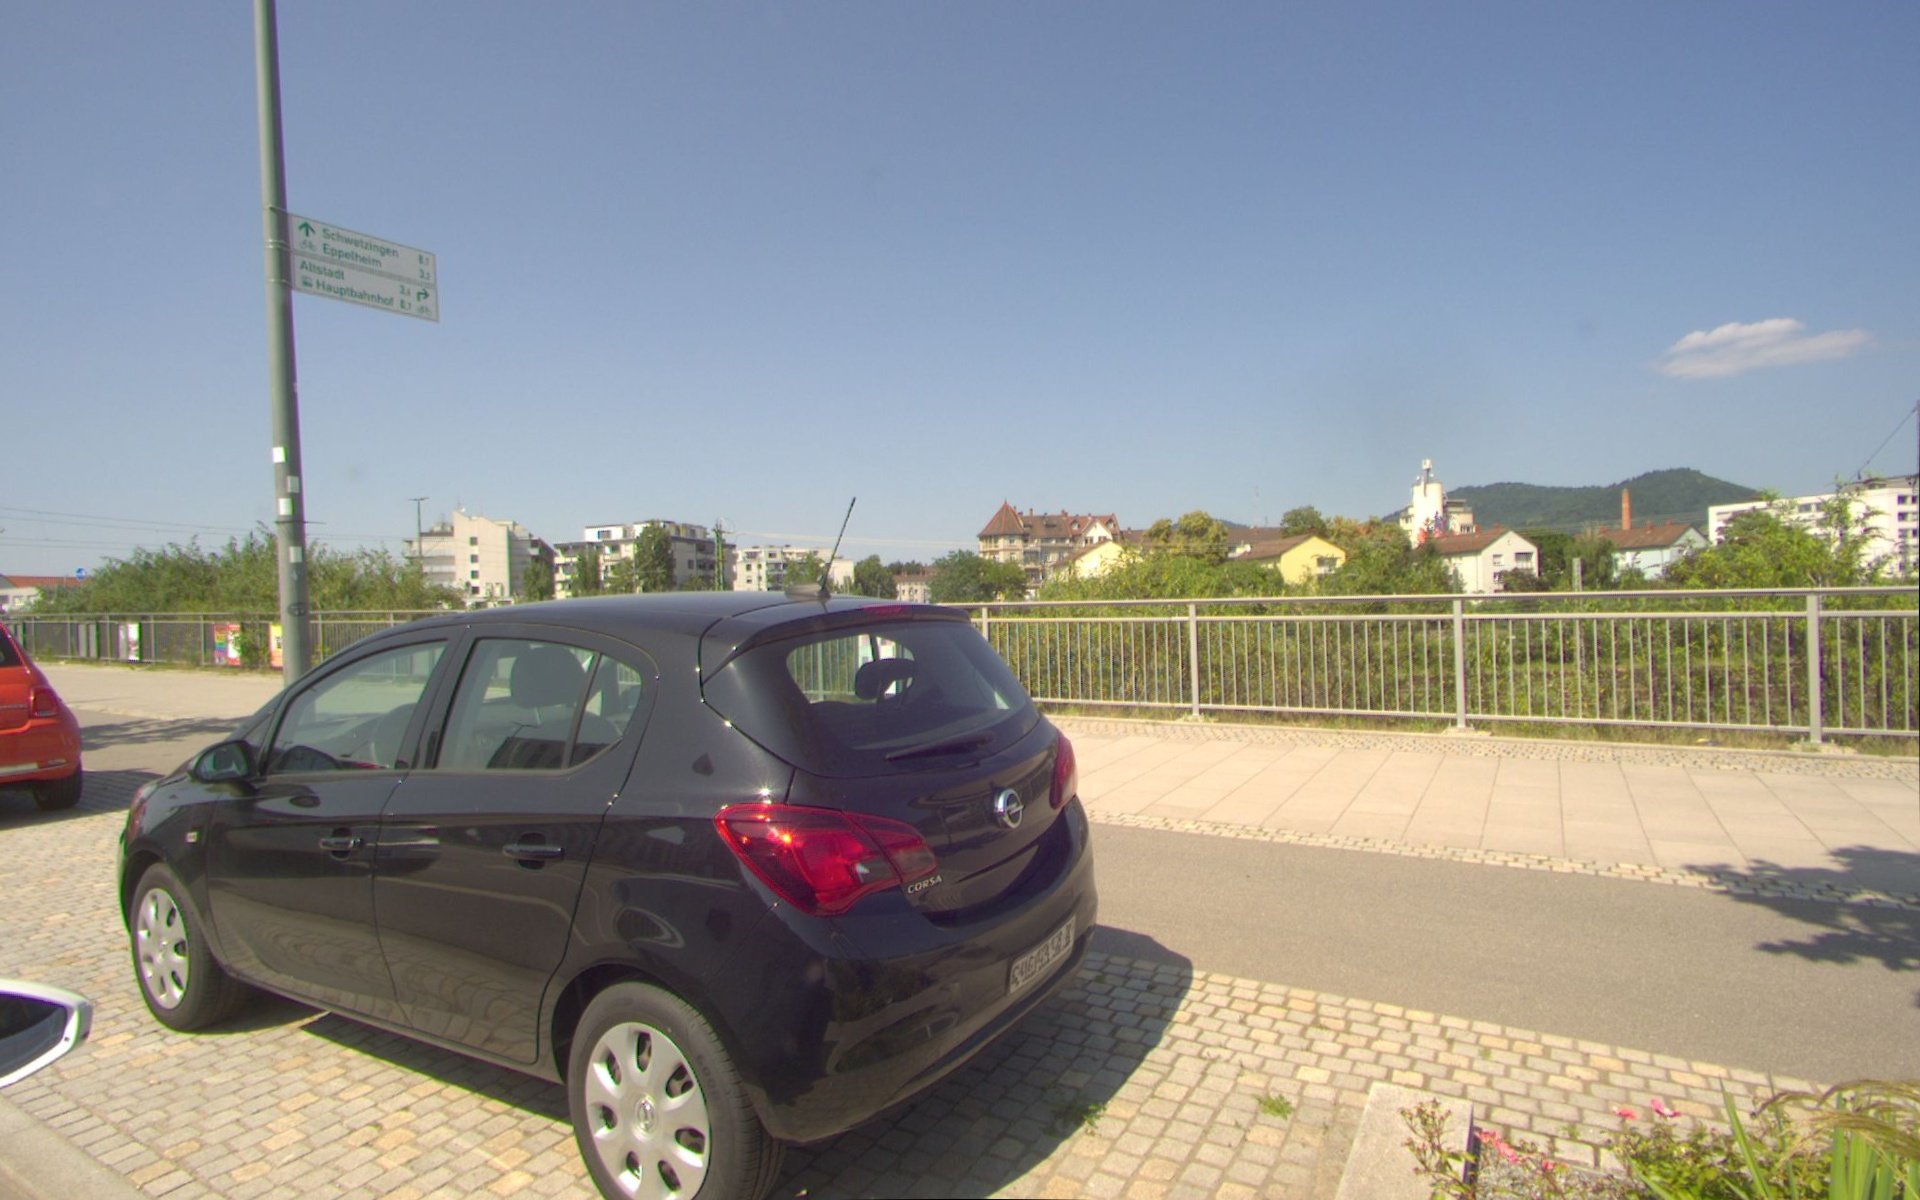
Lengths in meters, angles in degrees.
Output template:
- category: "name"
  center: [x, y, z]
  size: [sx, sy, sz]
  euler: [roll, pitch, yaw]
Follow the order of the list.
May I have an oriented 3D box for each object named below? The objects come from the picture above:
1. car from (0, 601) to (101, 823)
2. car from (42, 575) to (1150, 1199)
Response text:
- category: "car"
  center: [-8.144, 0.801, 7.589]
  size: [3.305, 1.517, 1.605]
  euler: [-1, 2, 34]
- category: "car"
  center: [-1.494, 0.701, 3.601]
  size: [3.943, 1.445, 1.656]
  euler: [-1, 1, 32]
